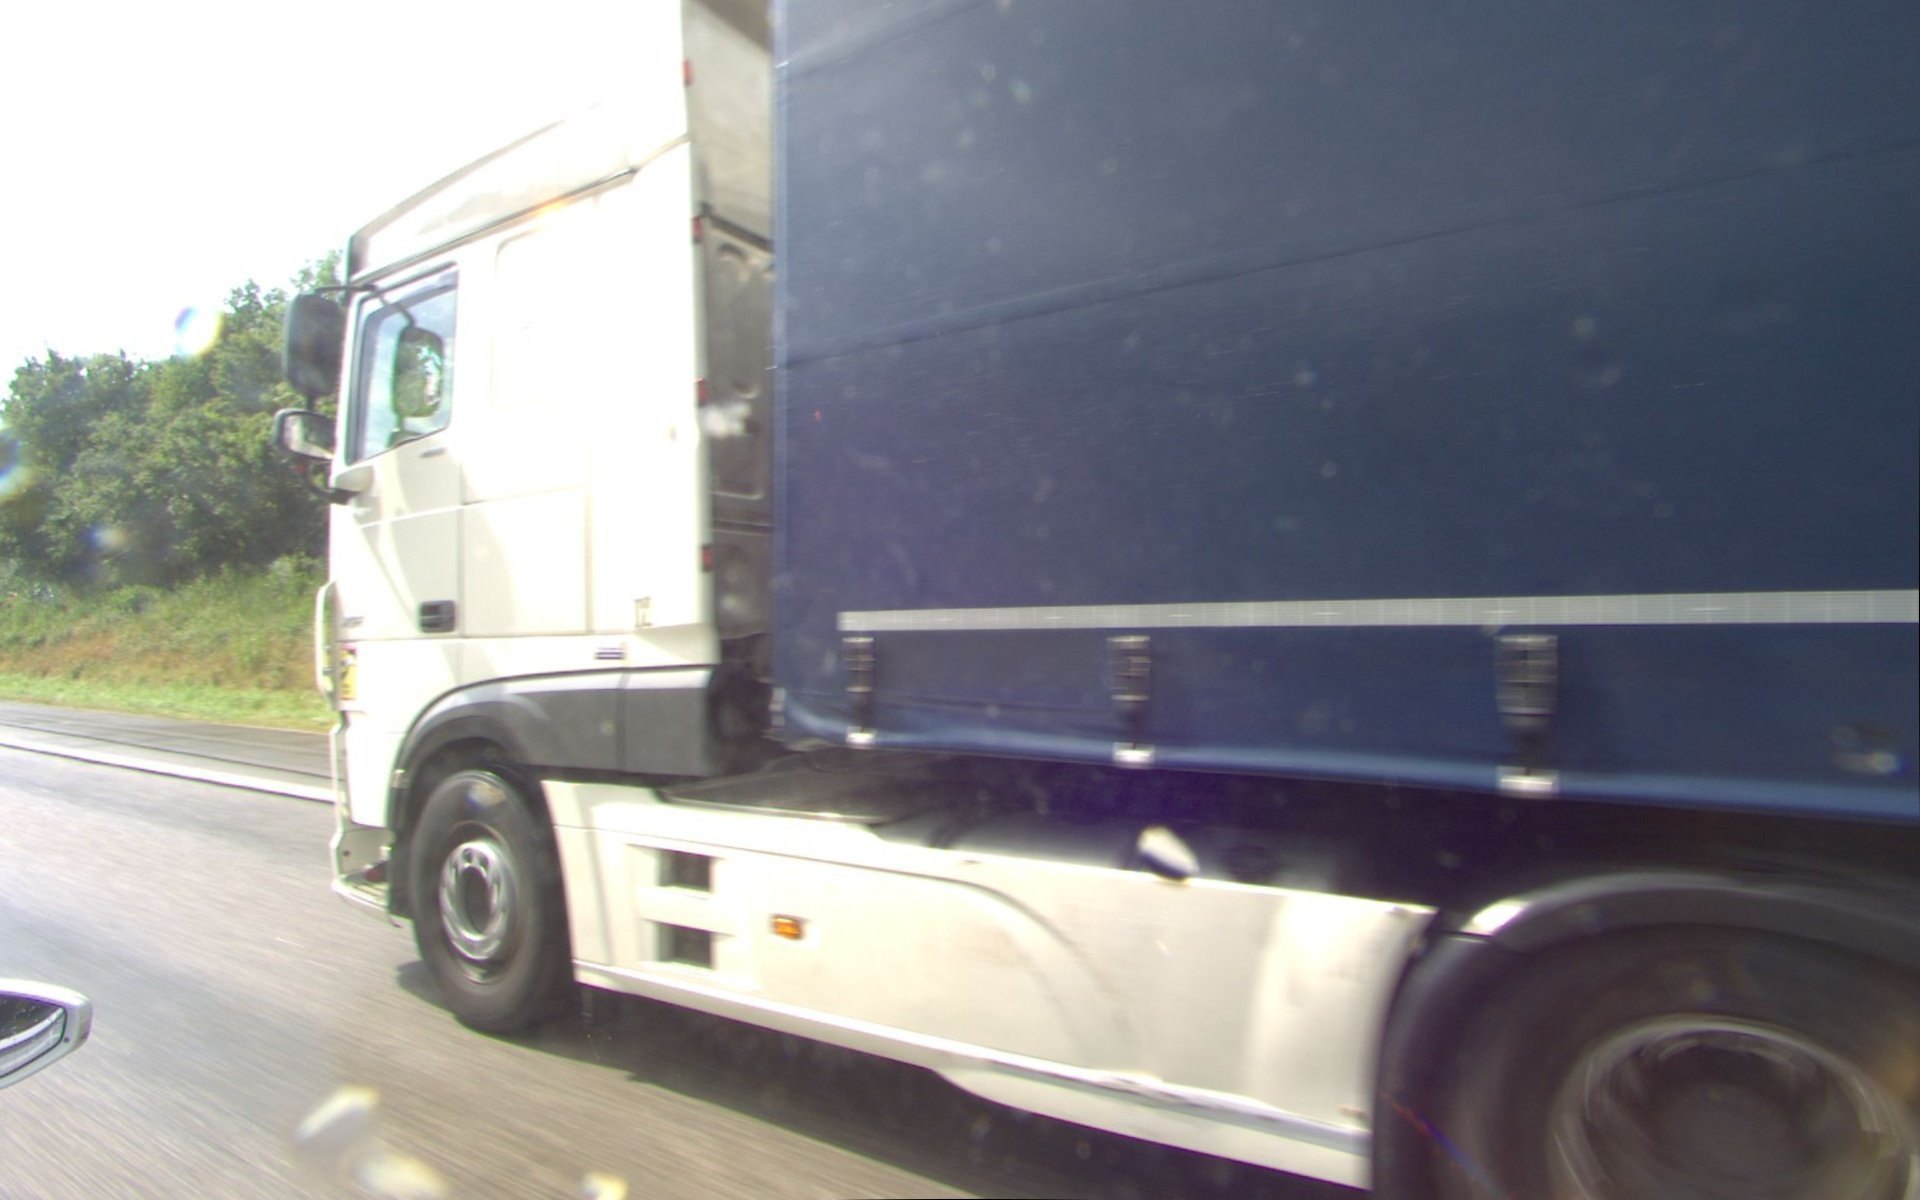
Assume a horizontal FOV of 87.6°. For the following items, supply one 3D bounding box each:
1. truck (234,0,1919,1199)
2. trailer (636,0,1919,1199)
[{"bbox_3d":[0.526,-0.432,3.591,7.187,4.046,2.602,-1,-2,33],"label":"truck"},{"bbox_3d":[5.567,-0.543,0.381,13.865,4.046,2.630,-1,-2,33],"label":"trailer"}]
